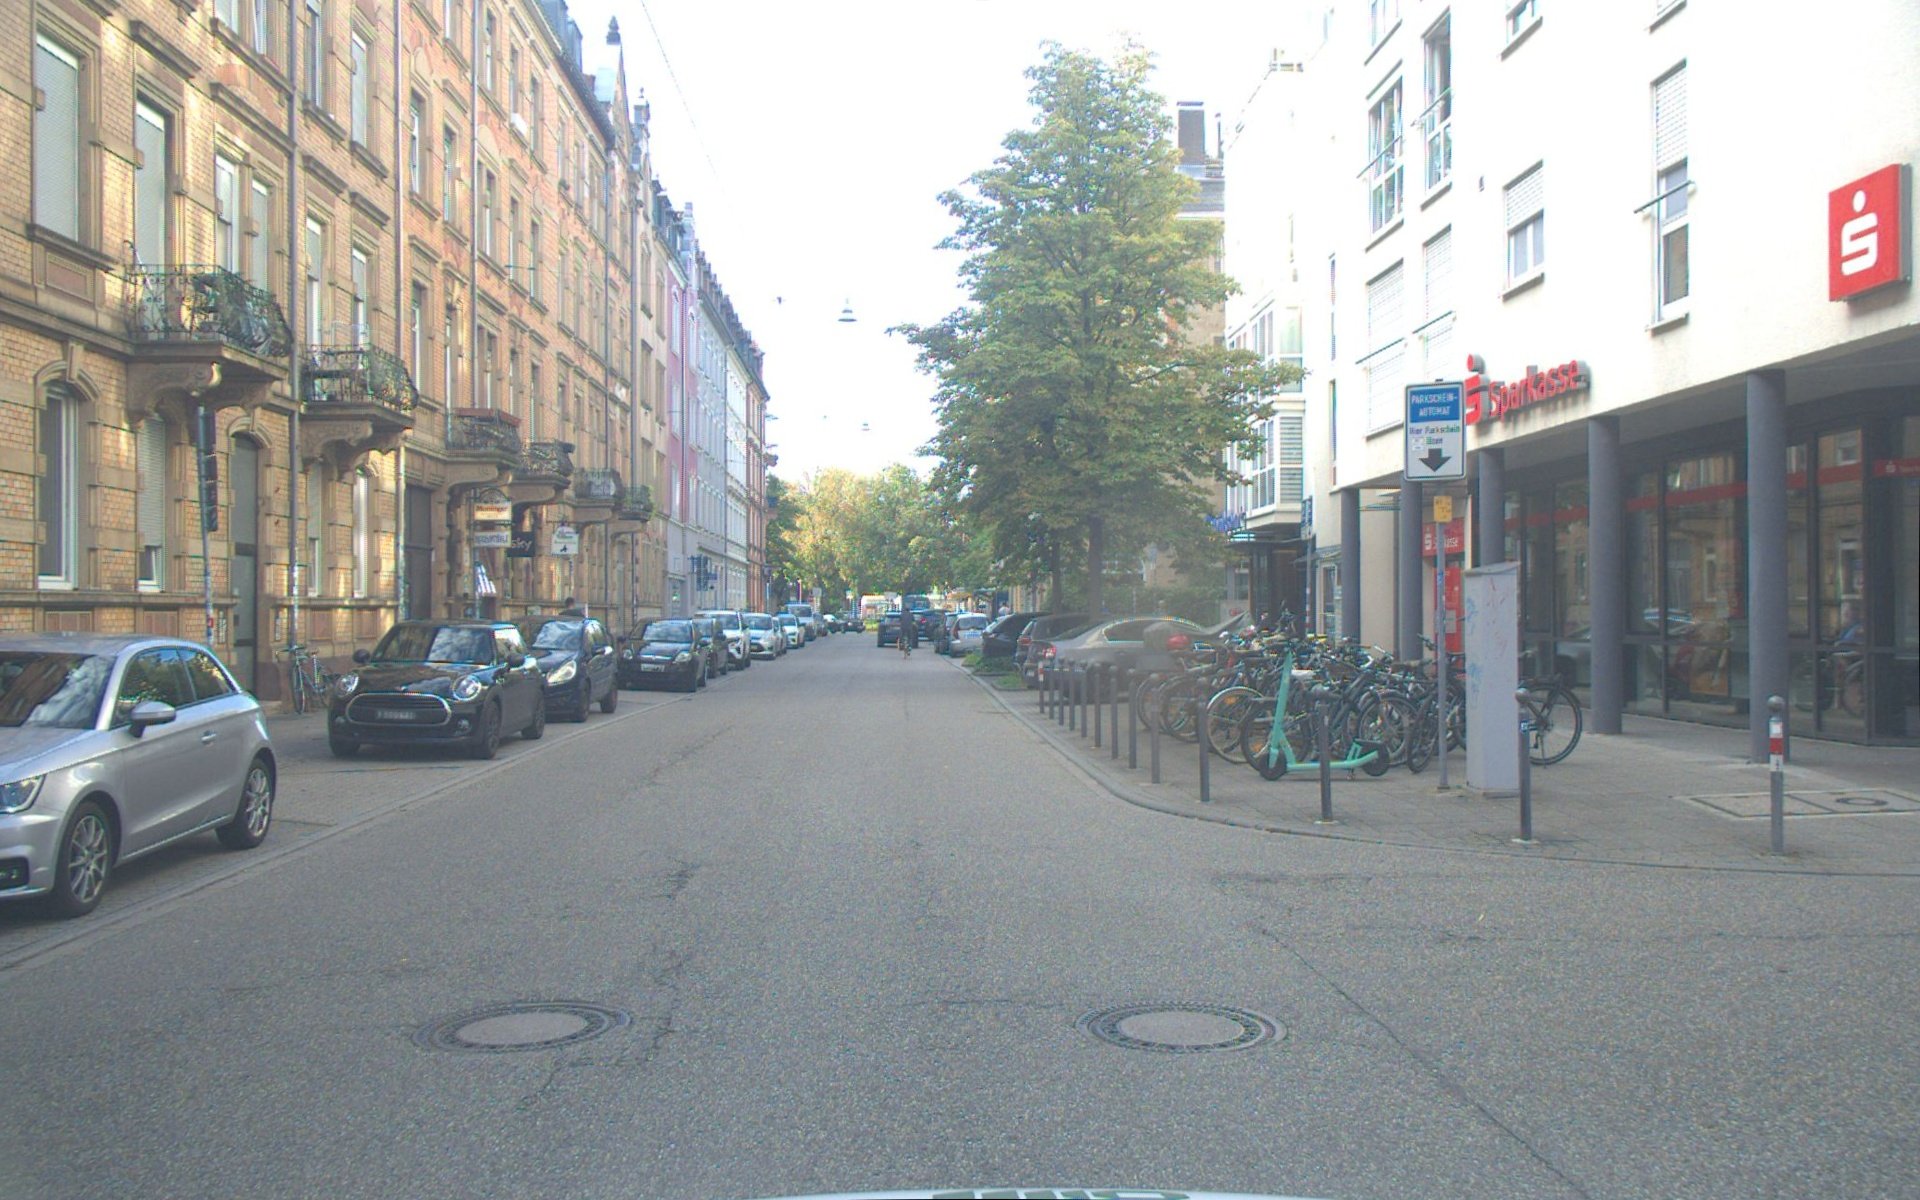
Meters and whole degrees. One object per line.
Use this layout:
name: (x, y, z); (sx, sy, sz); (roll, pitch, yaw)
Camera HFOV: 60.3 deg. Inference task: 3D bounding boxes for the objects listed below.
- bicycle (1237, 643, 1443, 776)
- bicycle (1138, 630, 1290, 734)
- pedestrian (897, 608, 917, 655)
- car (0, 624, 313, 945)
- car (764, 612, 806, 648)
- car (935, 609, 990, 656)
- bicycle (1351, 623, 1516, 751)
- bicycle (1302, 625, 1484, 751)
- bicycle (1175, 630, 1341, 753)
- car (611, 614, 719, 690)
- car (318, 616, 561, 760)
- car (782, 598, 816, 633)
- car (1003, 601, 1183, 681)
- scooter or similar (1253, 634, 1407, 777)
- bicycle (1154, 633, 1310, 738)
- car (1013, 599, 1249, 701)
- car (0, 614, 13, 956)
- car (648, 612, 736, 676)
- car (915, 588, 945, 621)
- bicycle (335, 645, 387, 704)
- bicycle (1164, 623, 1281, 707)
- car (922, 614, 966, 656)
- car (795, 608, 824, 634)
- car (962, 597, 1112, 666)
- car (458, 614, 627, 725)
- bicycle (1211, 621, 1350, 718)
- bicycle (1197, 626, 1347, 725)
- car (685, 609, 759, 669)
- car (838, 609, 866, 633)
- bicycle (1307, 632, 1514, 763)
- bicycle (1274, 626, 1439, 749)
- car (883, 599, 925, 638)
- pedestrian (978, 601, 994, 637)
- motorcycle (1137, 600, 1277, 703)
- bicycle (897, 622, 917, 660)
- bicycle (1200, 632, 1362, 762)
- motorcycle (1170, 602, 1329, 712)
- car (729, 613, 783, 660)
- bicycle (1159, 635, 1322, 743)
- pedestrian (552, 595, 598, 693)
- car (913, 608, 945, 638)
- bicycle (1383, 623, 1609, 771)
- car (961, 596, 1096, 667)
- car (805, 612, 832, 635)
bicycle: (3.404, 0.967, 14.824); (1.732, 1.075, 0.411); (-3, 0, -8)
bicycle: (3.124, 1.001, 20.391); (1.757, 1.179, 0.500); (-3, 0, 0)
pedestrian: (-1.919, 1.140, 59.963); (0.703, 1.679, 0.930); (1, 0, -2)
car: (-5.269, 0.883, 9.553); (1.656, 1.411, 3.865); (1, 0, -2)
car: (-7.856, 1.329, 74.391); (1.656, 1.577, 3.864); (1, -1, -3)
car: (0.079, 1.182, 61.934); (1.891, 1.667, 3.998); (1, 0, -2)
bicycle: (4.661, 0.850, 16.310); (1.465, 1.166, 0.411); (-3, 0, -3)
bicycle: (4.405, 0.882, 16.837); (1.733, 1.166, 0.410); (-3, 0, -9)
bicycle: (3.133, 0.941, 17.348); (1.742, 1.166, 0.408); (-3, 0, -23)
car: (-6.204, 1.062, 35.122); (1.656, 1.393, 3.865); (4, 0, -2)
car: (-5.748, 0.915, 18.728); (1.656, 1.411, 3.865); (1, 0, -2)
car: (-8.799, 0.876, 90.831); (1.656, 1.853, 3.864); (1, -1, -3)
car: (2.967, 0.908, 37.428); (3.904, 1.611, 2.001); (-2, 0, 2)
scooter or similar: (3.171, 0.907, 14.201); (1.183, 1.167, 0.378); (-3, 1, 29)
bicycle: (3.192, 1.000, 19.459); (1.729, 1.138, 0.411); (-3, 0, 0)
car: (2.952, 0.861, 28.869); (3.695, 1.573, 1.725); (-2, -1, -13)
car: (-5.010, 0.814, 5.352); (1.707, 1.509, 3.981); (1, 0, -2)
car: (-6.748, 1.077, 41.979); (1.656, 1.393, 3.865); (4, 0, -2)
car: (-1.980, 0.287, 107.794); (1.747, 2.055, 3.885); (1, 0, -3)
bicycle: (-9.891, 1.222, 27.334); (0.427, 0.913, 1.295); (3, -1, -4)
bicycle: (3.970, 0.978, 25.072); (1.630, 1.179, 0.557); (-3, 0, -1)
car: (-0.671, 1.388, 66.297); (1.656, 1.577, 3.686); (1, -1, -2)
car: (-9.606, 1.358, 105.887); (1.656, 1.577, 3.864); (1, -1, -3)
car: (2.093, 0.842, 44.744); (3.904, 1.669, 2.001); (-2, 0, 2)
car: (-6.065, 0.969, 24.435); (1.656, 1.462, 3.865); (1, 0, -2)
bicycle: (4.223, 0.907, 21.843); (1.697, 1.179, 0.500); (-3, 0, -1)
bicycle: (3.926, 0.950, 20.835); (1.758, 1.179, 0.500); (-2, 0, 24)
car: (-6.732, 1.085, 47.106); (1.656, 1.577, 3.865); (1, 0, -2)
car: (-7.886, 1.523, 120.929); (1.817, 1.649, 3.999); (1, 0, -2)
bicycle: (4.203, 0.902, 15.504); (1.729, 1.106, 0.650); (-3, 0, 0)
bicycle: (4.165, 0.896, 17.329); (1.742, 1.166, 0.408); (-3, 0, -23)
car: (-2.632, 0.891, 76.960); (1.925, 1.771, 4.039); (0, -1, -3)
pedestrian: (1.643, 1.186, 104.749); (0.975, 2.269, 0.898); (1, 0, -2)
motorcycle: (3.974, 0.823, 26.723); (2.106, 1.557, 0.686); (-3, 0, 2)
bicycle: (-1.927, 1.475, 59.963); (0.703, 1.296, 1.883); (1, 0, -2)
bicycle: (3.141, 0.939, 16.196); (1.467, 1.166, 0.411); (-3, 0, -8)
motorcycle: (4.139, 0.808, 23.750); (2.106, 1.460, 0.765); (-3, 0, 2)
car: (-7.298, 1.289, 59.436); (1.656, 1.577, 3.864); (1, -1, -3)
bicycle: (3.163, 0.999, 18.713); (1.729, 1.118, 0.411); (-3, 0, 0)
pedestrian: (-7.596, 0.854, 32.668); (0.675, 1.886, 0.931); (1, 0, -1)
car: (-1.719, 1.231, 90.329); (1.556, 1.566, 3.750); (1, 0, -3)
bicycle: (4.672, 0.834, 14.479); (1.729, 1.182, 0.650); (-3, 0, 0)
car: (2.034, 0.936, 49.572); (3.904, 1.712, 1.739); (-3, 8, 1)
car: (-9.984, 1.667, 116.954); (1.555, 1.566, 3.752); (1, 0, -1)
